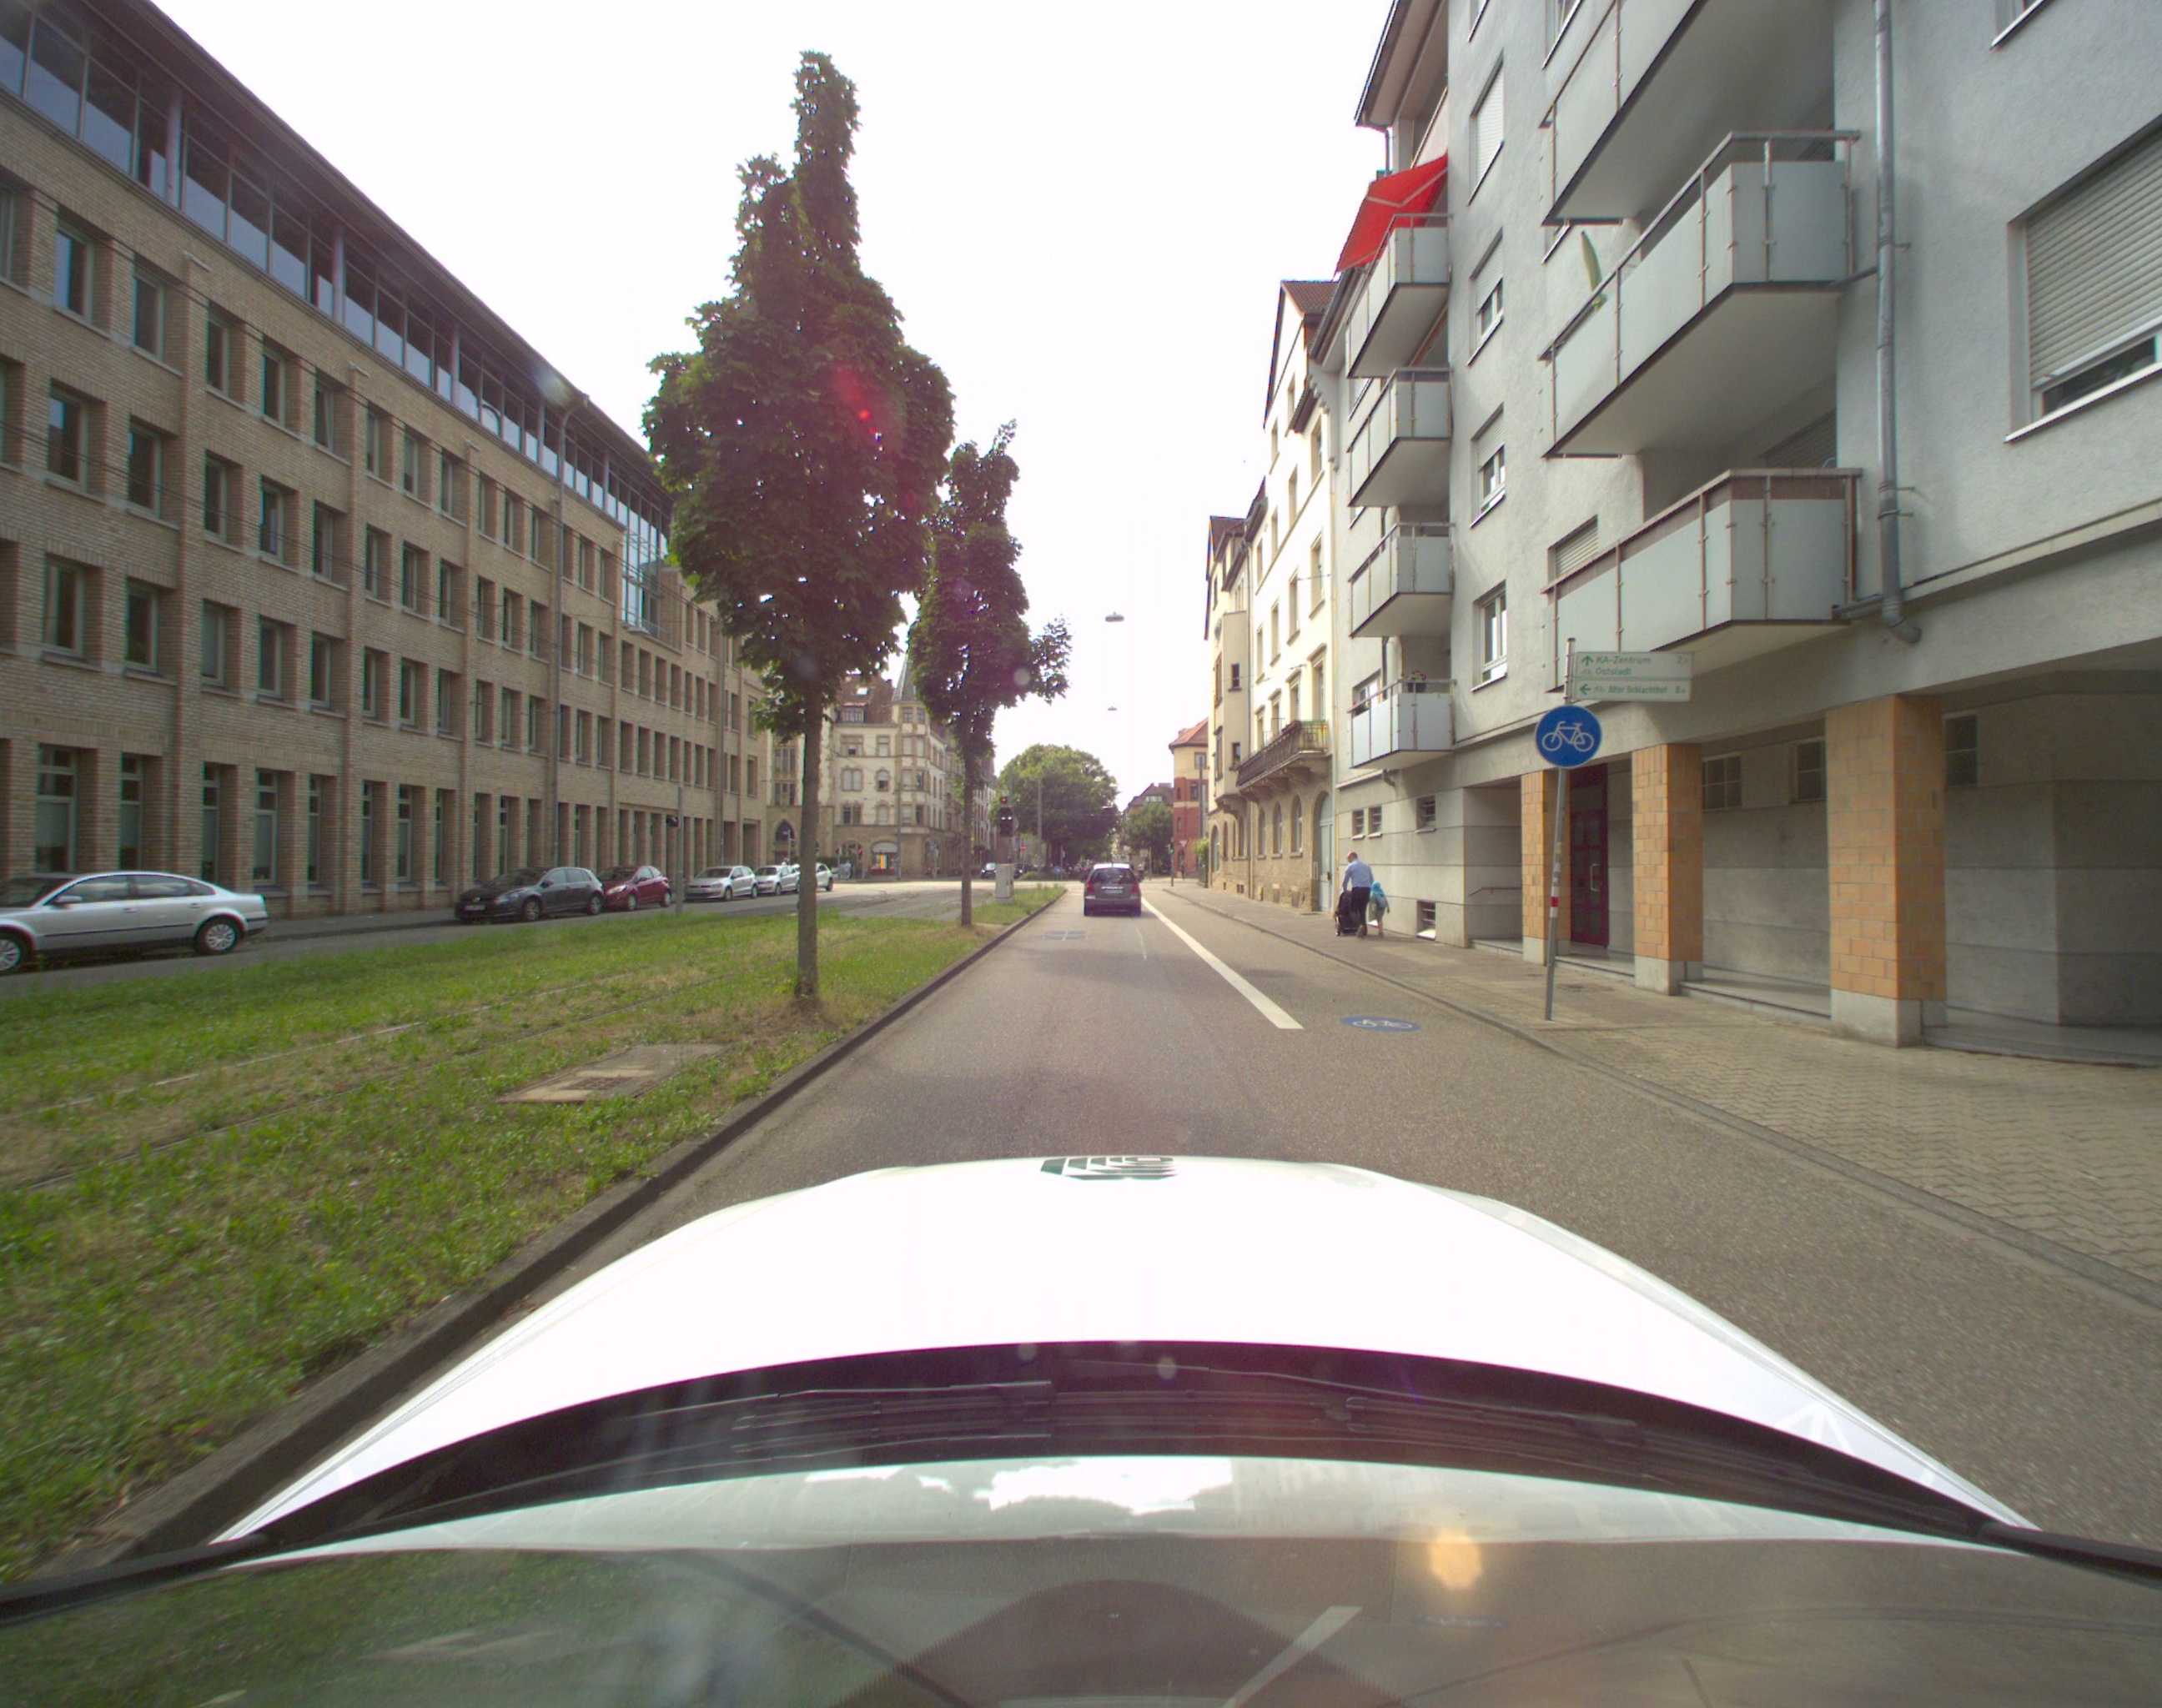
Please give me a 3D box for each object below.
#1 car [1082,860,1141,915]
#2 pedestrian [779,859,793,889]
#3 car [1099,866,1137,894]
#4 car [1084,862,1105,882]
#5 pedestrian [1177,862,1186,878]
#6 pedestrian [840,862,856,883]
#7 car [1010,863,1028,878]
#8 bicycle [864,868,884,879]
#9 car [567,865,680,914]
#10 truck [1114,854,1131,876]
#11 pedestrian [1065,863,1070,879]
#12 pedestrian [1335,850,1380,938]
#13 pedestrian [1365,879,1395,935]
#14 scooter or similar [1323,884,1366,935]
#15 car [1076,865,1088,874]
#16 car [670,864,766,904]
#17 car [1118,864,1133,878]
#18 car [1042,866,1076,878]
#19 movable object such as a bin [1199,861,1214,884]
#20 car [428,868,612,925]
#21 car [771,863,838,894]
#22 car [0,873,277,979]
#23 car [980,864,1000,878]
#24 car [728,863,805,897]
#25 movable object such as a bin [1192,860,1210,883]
[{"bbox_3d":[0.995,1.018,25.979,1.715,1.606,3.679,-1,-1,3],"label":"car"},{"bbox_3d":[-17.720,1.204,48.907,0.763,1.795,0.952,1,-1,-24],"label":"pedestrian"},{"bbox_3d":[2.011,1.364,44.302,1.972,1.442,4.002,0,-1,2],"label":"car"},{"bbox_3d":[1.263,1.628,73.701,1.715,1.706,3.679,-1,-1,3],"label":"car"},{"bbox_3d":[10.112,1.613,81.700,0.864,1.657,0.737,0,-1,6],"label":"pedestrian"},{"bbox_3d":[-19.573,1.528,68.445,1.029,1.722,0.767,1,-1,-42],"label":"pedestrian"},{"bbox_3d":[-7.079,1.876,93.279,1.989,1.728,3.995,-1,-1,-3],"label":"car"},{"bbox_3d":[-20.955,1.921,82.417,1.915,1.081,0.776,-1,-1,-9],"label":"bicycle"},{"bbox_3d":[-14.971,1.115,26.891,1.576,1.531,3.552,0,-1,3],"label":"car"},{"bbox_3d":[5.810,1.545,112.596,2.112,2.970,4.006,-1,-1,5],"label":"truck"},{"bbox_3d":[-1.474,1.843,89.651,0.492,1.725,0.653,0,-1,-4],"label":"pedestrian"},{"bbox_3d":[5.645,0.809,16.663,0.618,1.739,0.878,-1,-1,2],"label":"pedestrian"},{"bbox_3d":[6.225,1.104,16.973,0.454,1.135,0.494,0,-1,2],"label":"pedestrian"},{"bbox_3d":[5.654,1.183,17.530,0.590,1.002,0.906,-4,-1,2],"label":"scooter or similar"},{"bbox_3d":[0.198,2.564,137.092,1.745,1.517,3.501,0,-1,2],"label":"car"},{"bbox_3d":[-14.801,1.169,33.483,1.843,1.531,4.213,0,-1,3],"label":"car"},{"bbox_3d":[5.443,2.099,99.530,1.743,1.633,3.504,0,-1,6],"label":"car"},{"bbox_3d":[-2.540,2.111,94.446,1.984,1.339,3.955,1,-1,-37],"label":"car"},{"bbox_3d":[8.419,1.228,54.558,0.714,1.472,0.980,-1,-1,-7],"label":"movable object such as a bin"},{"bbox_3d":[-15.130,1.090,22.301,1.925,1.396,4.242,0,-1,3],"label":"car"},{"bbox_3d":[-14.631,1.262,43.318,1.925,1.535,4.261,0,-1,3],"label":"car"},{"bbox_3d":[-15.408,1.006,12.406,1.708,1.396,4.487,0,-1,3],"label":"car"},{"bbox_3d":[-10.278,1.910,91.865,1.989,1.618,3.995,-1,-1,-3],"label":"car"},{"bbox_3d":[-14.856,1.183,38.724,1.925,1.531,4.017,0,-1,3],"label":"car"},{"bbox_3d":[8.026,1.175,54.667,1.045,1.540,2.102,-1,-1,4],"label":"movable object such as a bin"}]
